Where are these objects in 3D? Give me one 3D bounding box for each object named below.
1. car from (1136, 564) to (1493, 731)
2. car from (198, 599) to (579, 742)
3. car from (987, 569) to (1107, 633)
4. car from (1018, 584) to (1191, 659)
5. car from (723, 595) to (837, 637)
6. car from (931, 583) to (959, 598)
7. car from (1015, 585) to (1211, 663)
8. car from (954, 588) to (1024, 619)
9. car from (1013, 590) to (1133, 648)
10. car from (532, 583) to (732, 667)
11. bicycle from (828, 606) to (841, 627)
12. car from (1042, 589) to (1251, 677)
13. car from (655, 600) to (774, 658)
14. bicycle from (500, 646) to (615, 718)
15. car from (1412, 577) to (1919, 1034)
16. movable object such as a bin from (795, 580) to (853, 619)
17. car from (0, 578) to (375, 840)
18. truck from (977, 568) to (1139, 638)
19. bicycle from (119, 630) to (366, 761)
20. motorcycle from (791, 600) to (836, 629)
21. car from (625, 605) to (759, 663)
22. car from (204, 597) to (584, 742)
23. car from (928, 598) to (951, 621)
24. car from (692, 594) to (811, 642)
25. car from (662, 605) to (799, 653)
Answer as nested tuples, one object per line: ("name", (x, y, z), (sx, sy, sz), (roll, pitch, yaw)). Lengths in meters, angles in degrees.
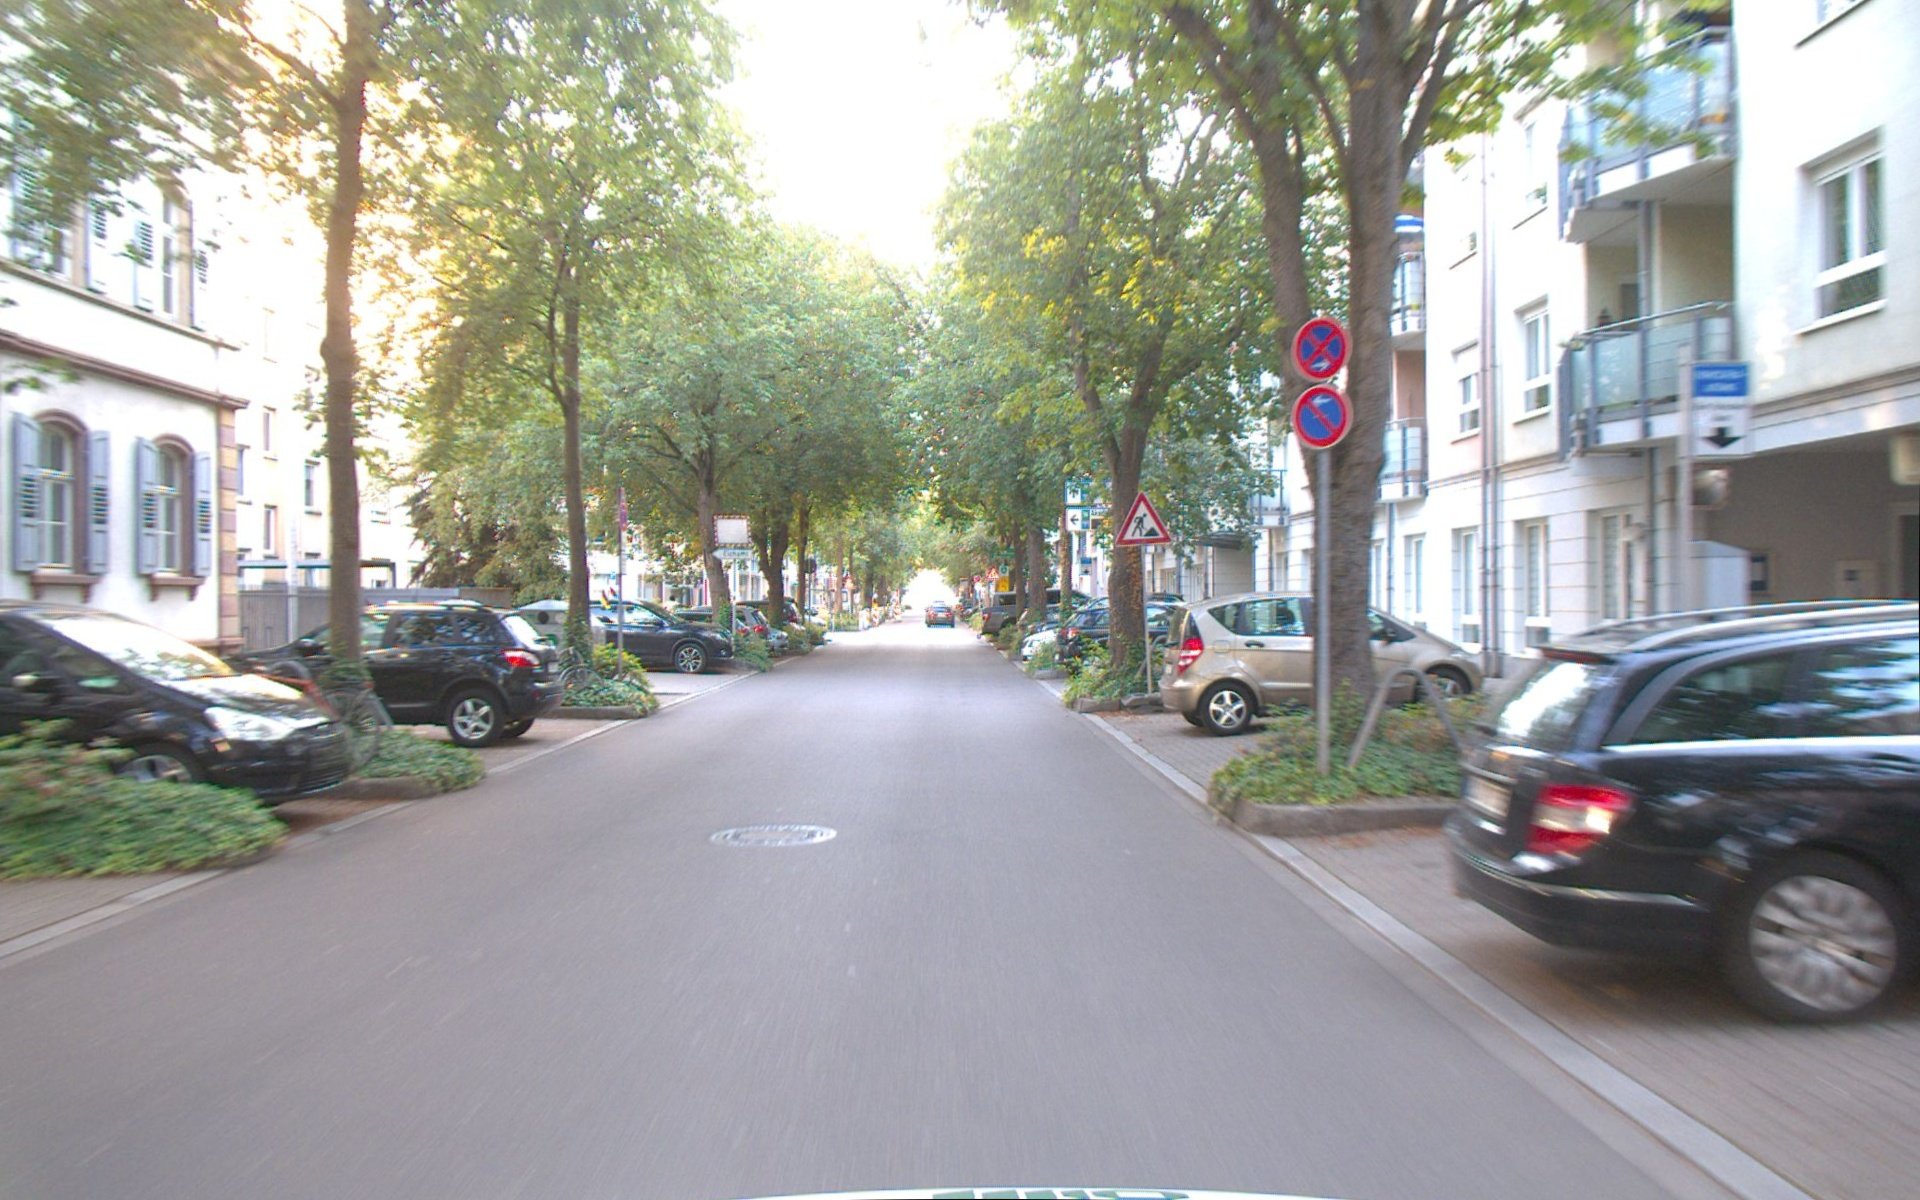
("car", (4.152, 0.541, 19.855), (3.784, 1.696, 1.925), (-3, 0, -1))
("car", (-6.694, 0.795, 19.681), (3.906, 1.619, 1.788), (0, 0, -2))
("car", (3.436, 0.048, 65.887), (4.527, 2.170, 2.036), (-4, 0, -1))
("car", (3.895, 0.569, 45.034), (4.303, 1.733, 1.891), (-3, 0, -9))
("car", (-7.320, 0.648, 67.575), (4.406, 1.609, 2.054), (1, -1, 0))
("car", (-2.147, -1.344, 237.926), (3.905, 2.049, 2.000), (-1, 0, 1))
("car", (3.649, 0.574, 39.987), (4.481, 1.579, 1.772), (-3, 0, -2))
("car", (2.046, 0.275, 118.037), (4.871, 2.124, 1.738), (-1, 0, -1))
("car", (3.637, 0.629, 53.476), (3.592, 1.575, 1.779), (-4, -1, -3))
("car", (-7.668, 0.574, 38.954), (4.329, 1.925, 1.999), (0, 0, -2))
("bicycle", (-6.866, 0.917, 90.808), (0.589, 1.138, 1.799), (-1, 0, -1))
("car", (3.773, 0.652, 33.893), (3.910, 1.500, 1.911), (-4, 0, -5))
("car", (-7.250, 0.845, 49.081), (3.337, 1.637, 1.760), (0, 0, -3))
("bicycle", (-5.784, 1.168, 23.762), (1.536, 0.953, 0.481), (-1, 0, -25))
("car", (4.179, 0.654, 6.589), (4.267, 1.495, 1.732), (-3, 0, 4))
("movable object such as a bin", (-8.636, -0.036, 105.433), (3.592, 2.373, 2.582), (-1, 0, -3))
("car", (-6.703, 0.748, 11.826), (4.446, 1.712, 1.620), (-1, 0, -5))
("truck", (3.687, 0.114, 63.177), (5.884, 2.170, 2.260), (-5, 0, -1))
("bicycle", (-6.086, 0.800, 14.074), (1.863, 1.043, 0.479), (-1, 0, -3))
("motorcycle", (-7.739, 0.752, 87.448), (2.358, 1.466, 0.790), (0, 0, -41))
("car", (-7.077, 0.890, 43.869), (3.337, 1.467, 1.593), (0, 0, -3))
("car", (-6.610, 0.782, 19.658), (3.908, 1.616, 1.827), (0, 0, -3))
("car", (-1.347, 0.611, 107.342), (1.470, 1.441, 3.713), (-1, 0, -1))
("car", (-7.850, 0.681, 62.593), (4.308, 1.714, 2.063), (1, 0, -3))
("car", (-7.058, 0.892, 51.192), (4.018, 1.404, 1.746), (1, 0, -3))
